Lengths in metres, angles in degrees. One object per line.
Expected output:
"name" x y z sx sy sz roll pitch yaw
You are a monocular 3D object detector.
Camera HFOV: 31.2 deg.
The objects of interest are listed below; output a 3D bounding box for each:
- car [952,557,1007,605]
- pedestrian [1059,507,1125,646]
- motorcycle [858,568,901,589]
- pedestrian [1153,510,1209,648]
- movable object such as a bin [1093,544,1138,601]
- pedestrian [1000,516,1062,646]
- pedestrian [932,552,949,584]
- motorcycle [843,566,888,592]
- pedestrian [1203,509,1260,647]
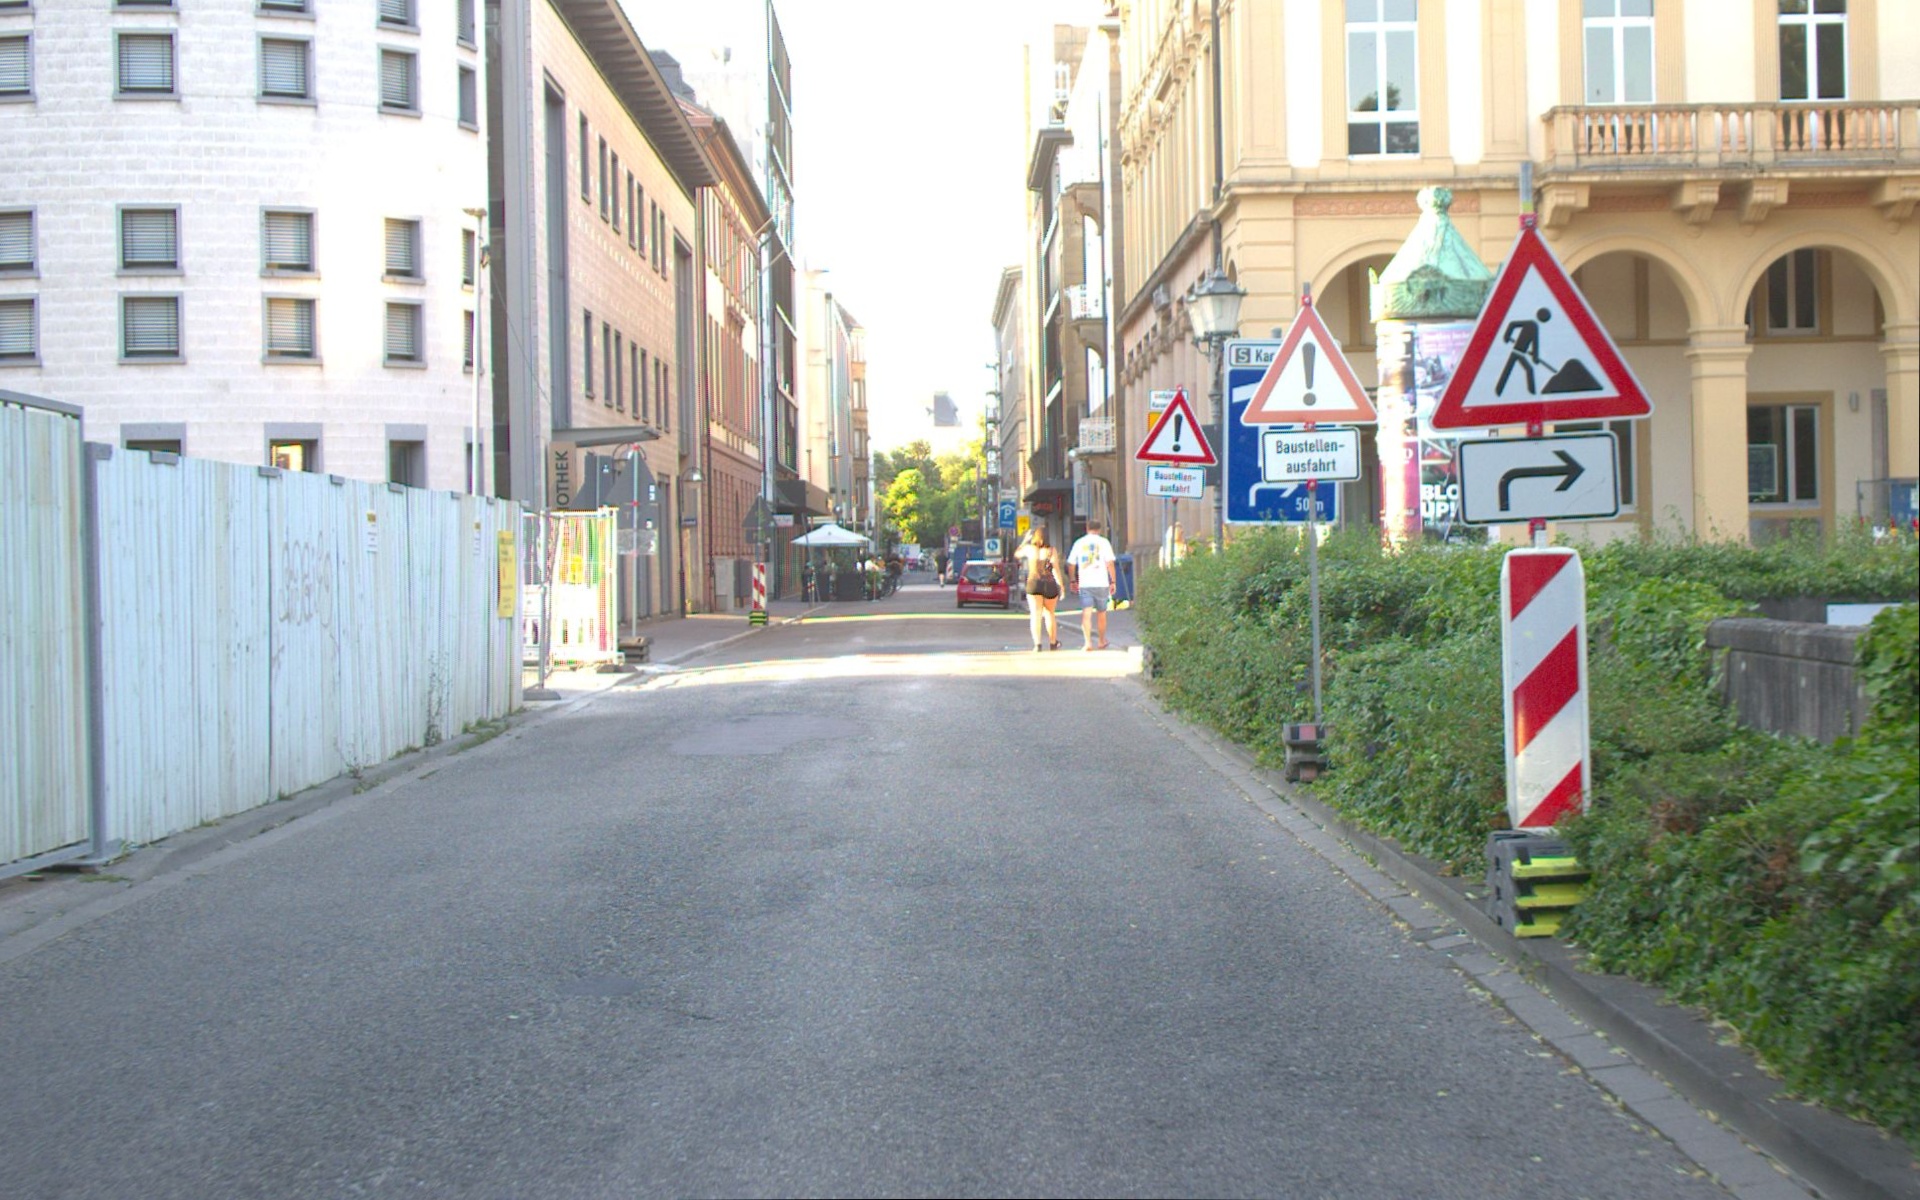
"car" 0.602 -0.589 106.765 1.649 1.422 3.535 2 0 0
"pedestrian" 1.805 -0.319 47.129 0.812 1.869 0.875 -2 0 -1
"motorcycle" -3.437 -0.929 146.669 1.801 0.872 0.560 -1 0 -4
"pedestrian" 2.929 -0.282 45.648 0.636 1.797 0.772 -2 0 -1
"movable object such as a bin" 3.882 -0.686 85.786 0.990 1.387 1.240 -2 0 -1
"pedestrian" 0.969 -0.259 47.091 0.775 1.740 0.875 -2 0 -1
"pedestrian" -1.028 -1.665 178.509 0.804 1.667 0.888 -1 0 2
"motorcycle" -3.810 -0.852 138.478 1.801 1.037 0.494 -1 0 -4
"pedestrian" 3.606 -0.293 45.662 0.636 1.797 0.772 -2 0 -1
